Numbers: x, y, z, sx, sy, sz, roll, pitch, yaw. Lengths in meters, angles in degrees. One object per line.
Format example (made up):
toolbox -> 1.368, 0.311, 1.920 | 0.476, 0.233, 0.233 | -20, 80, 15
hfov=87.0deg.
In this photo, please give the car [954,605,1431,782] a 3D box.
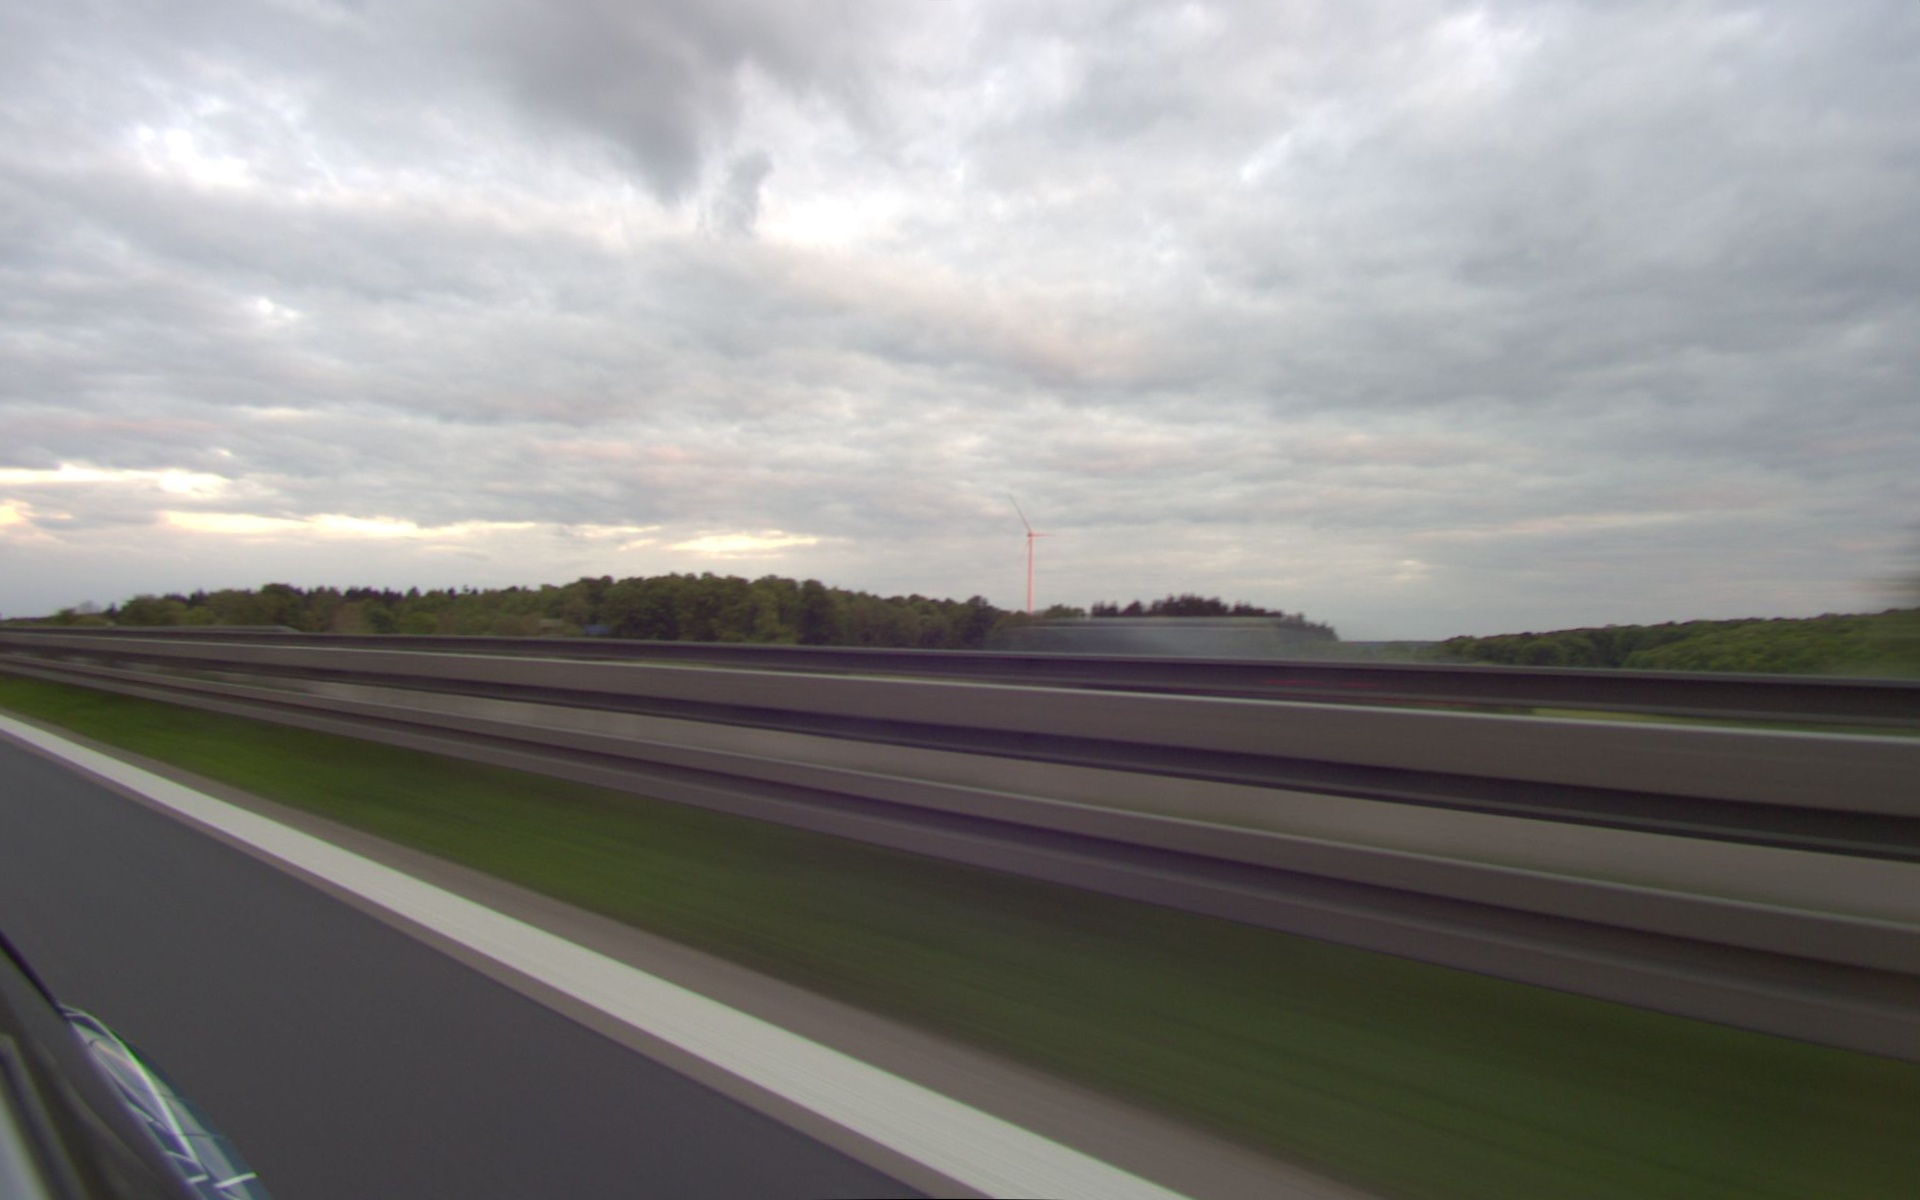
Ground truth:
car -> 2.332, 0.874, 10.996 | 4.728, 1.522, 1.895 | -1, -3, 41
